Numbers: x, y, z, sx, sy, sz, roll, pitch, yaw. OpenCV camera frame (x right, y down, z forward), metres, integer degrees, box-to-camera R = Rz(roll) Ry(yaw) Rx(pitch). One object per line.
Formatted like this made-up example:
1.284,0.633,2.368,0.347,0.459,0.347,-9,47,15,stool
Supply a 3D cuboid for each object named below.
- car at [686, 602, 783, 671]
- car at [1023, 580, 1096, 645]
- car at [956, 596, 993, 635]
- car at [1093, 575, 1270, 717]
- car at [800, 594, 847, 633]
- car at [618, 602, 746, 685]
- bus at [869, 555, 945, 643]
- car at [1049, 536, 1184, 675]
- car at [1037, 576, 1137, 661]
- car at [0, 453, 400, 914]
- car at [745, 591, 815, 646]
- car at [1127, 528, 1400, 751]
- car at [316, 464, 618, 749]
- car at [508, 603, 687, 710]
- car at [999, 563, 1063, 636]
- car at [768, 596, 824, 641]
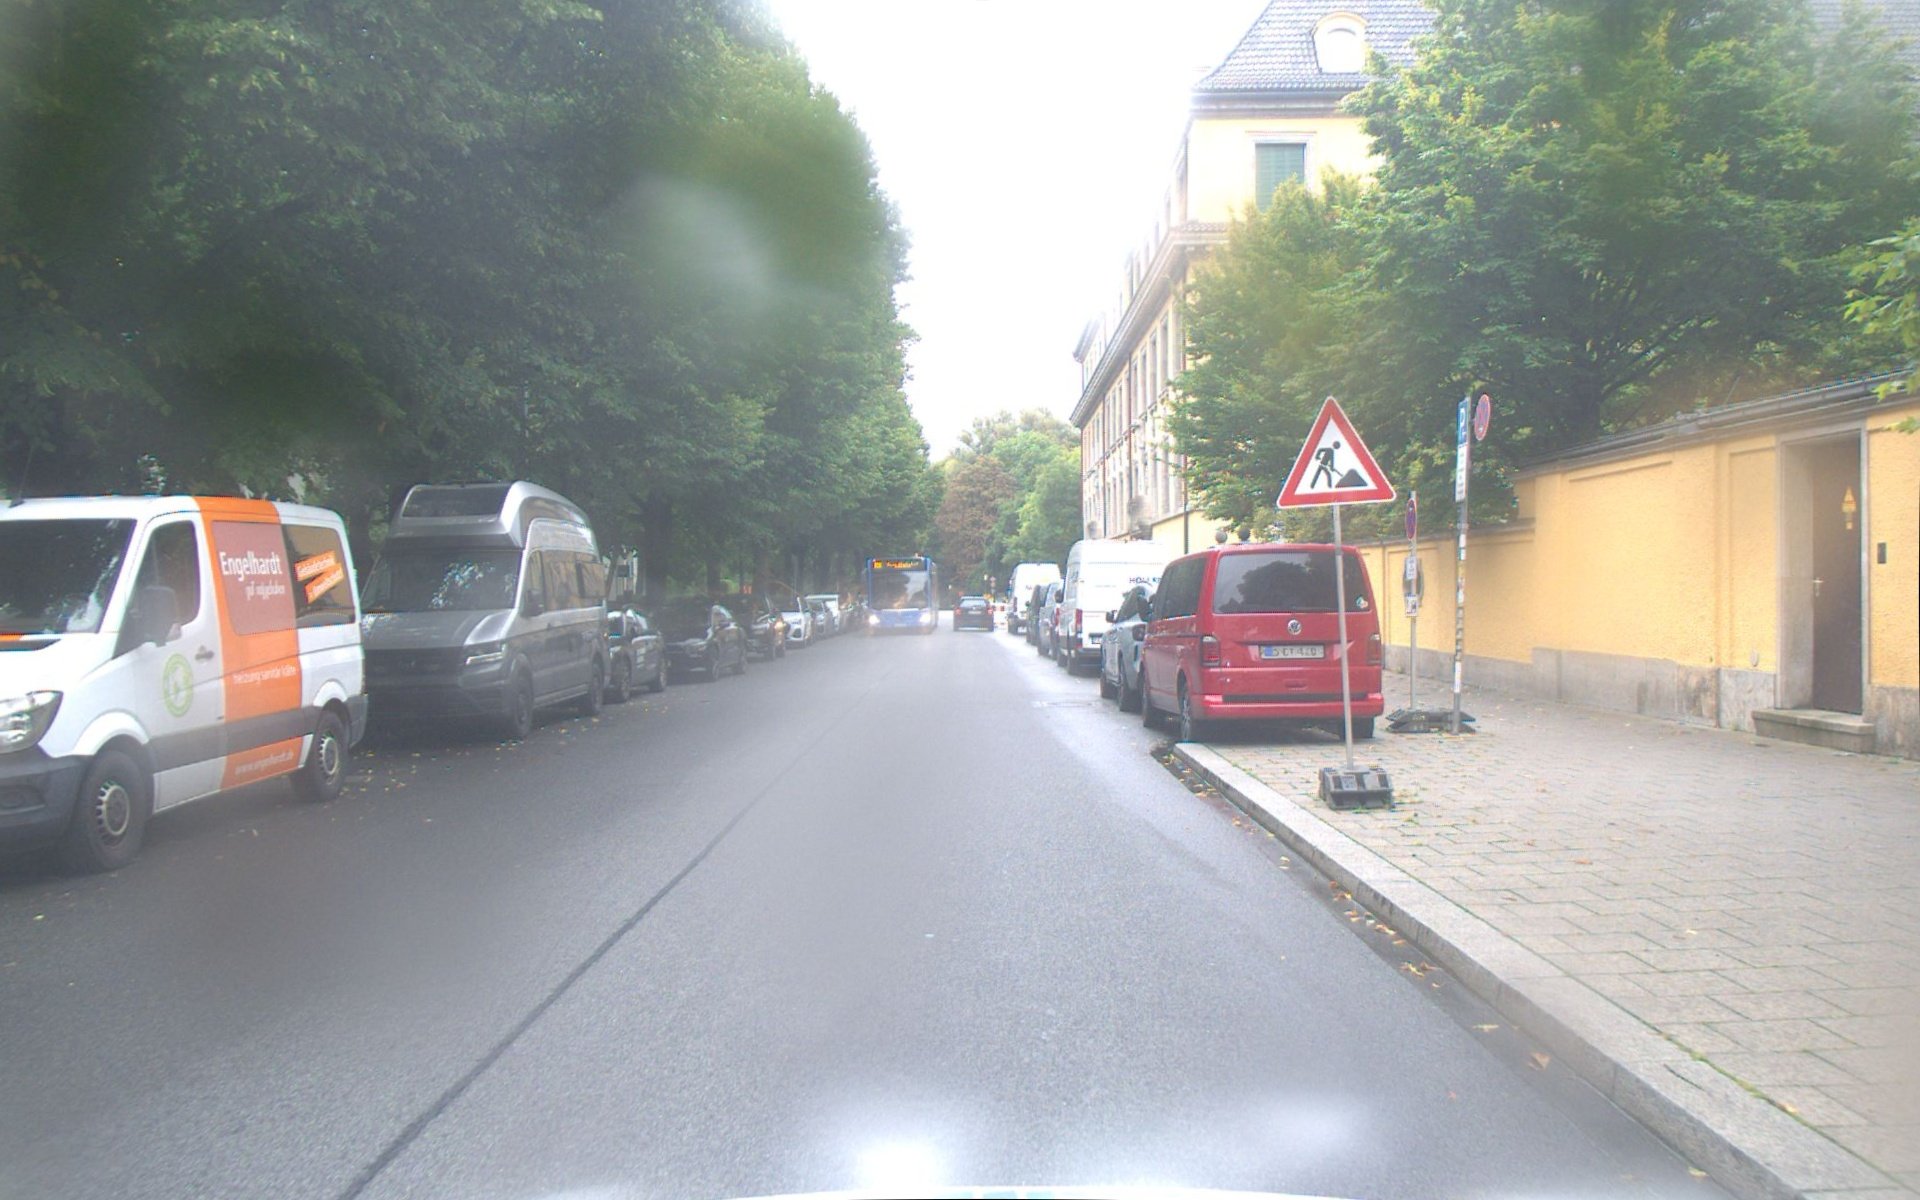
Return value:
-5.124,0.818,38.054,1.753,1.479,3.947,-1,-1,-1,car
3.072,0.394,51.971,1.833,1.901,4.985,-1,0,-1,car
0.639,0.662,71.032,1.545,1.611,4.044,-1,0,1,car
2.959,0.579,23.016,1.821,1.772,4.602,0,0,0,car
-5.540,0.548,67.594,1.638,1.495,4.103,-1,0,-1,car
-5.253,0.809,31.738,1.753,1.463,4.550,-1,-1,-1,car
-2.097,0.082,72.036,2.801,3.296,18.422,-1,-1,-1,bus
3.042,0.146,33.398,2.053,2.531,5.738,-1,-1,-1,car
3.043,0.436,40.697,1.972,1.940,5.162,0,0,-1,car
-5.730,0.484,11.262,2.071,2.390,5.406,-1,-1,-1,car
-5.582,0.560,51.685,1.748,1.625,4.583,-1,0,-1,car
3.053,0.398,17.836,1.821,2.002,5.443,-1,-1,-1,car
-5.709,0.108,20.117,1.905,2.904,6.234,-1,-1,-1,car
-5.673,0.827,26.439,1.753,1.463,4.579,-1,1,1,car
2.771,-0.008,66.217,2.013,2.720,7.612,-1,0,-1,car
-5.704,0.632,57.836,1.638,1.495,4.103,-1,0,-1,car
